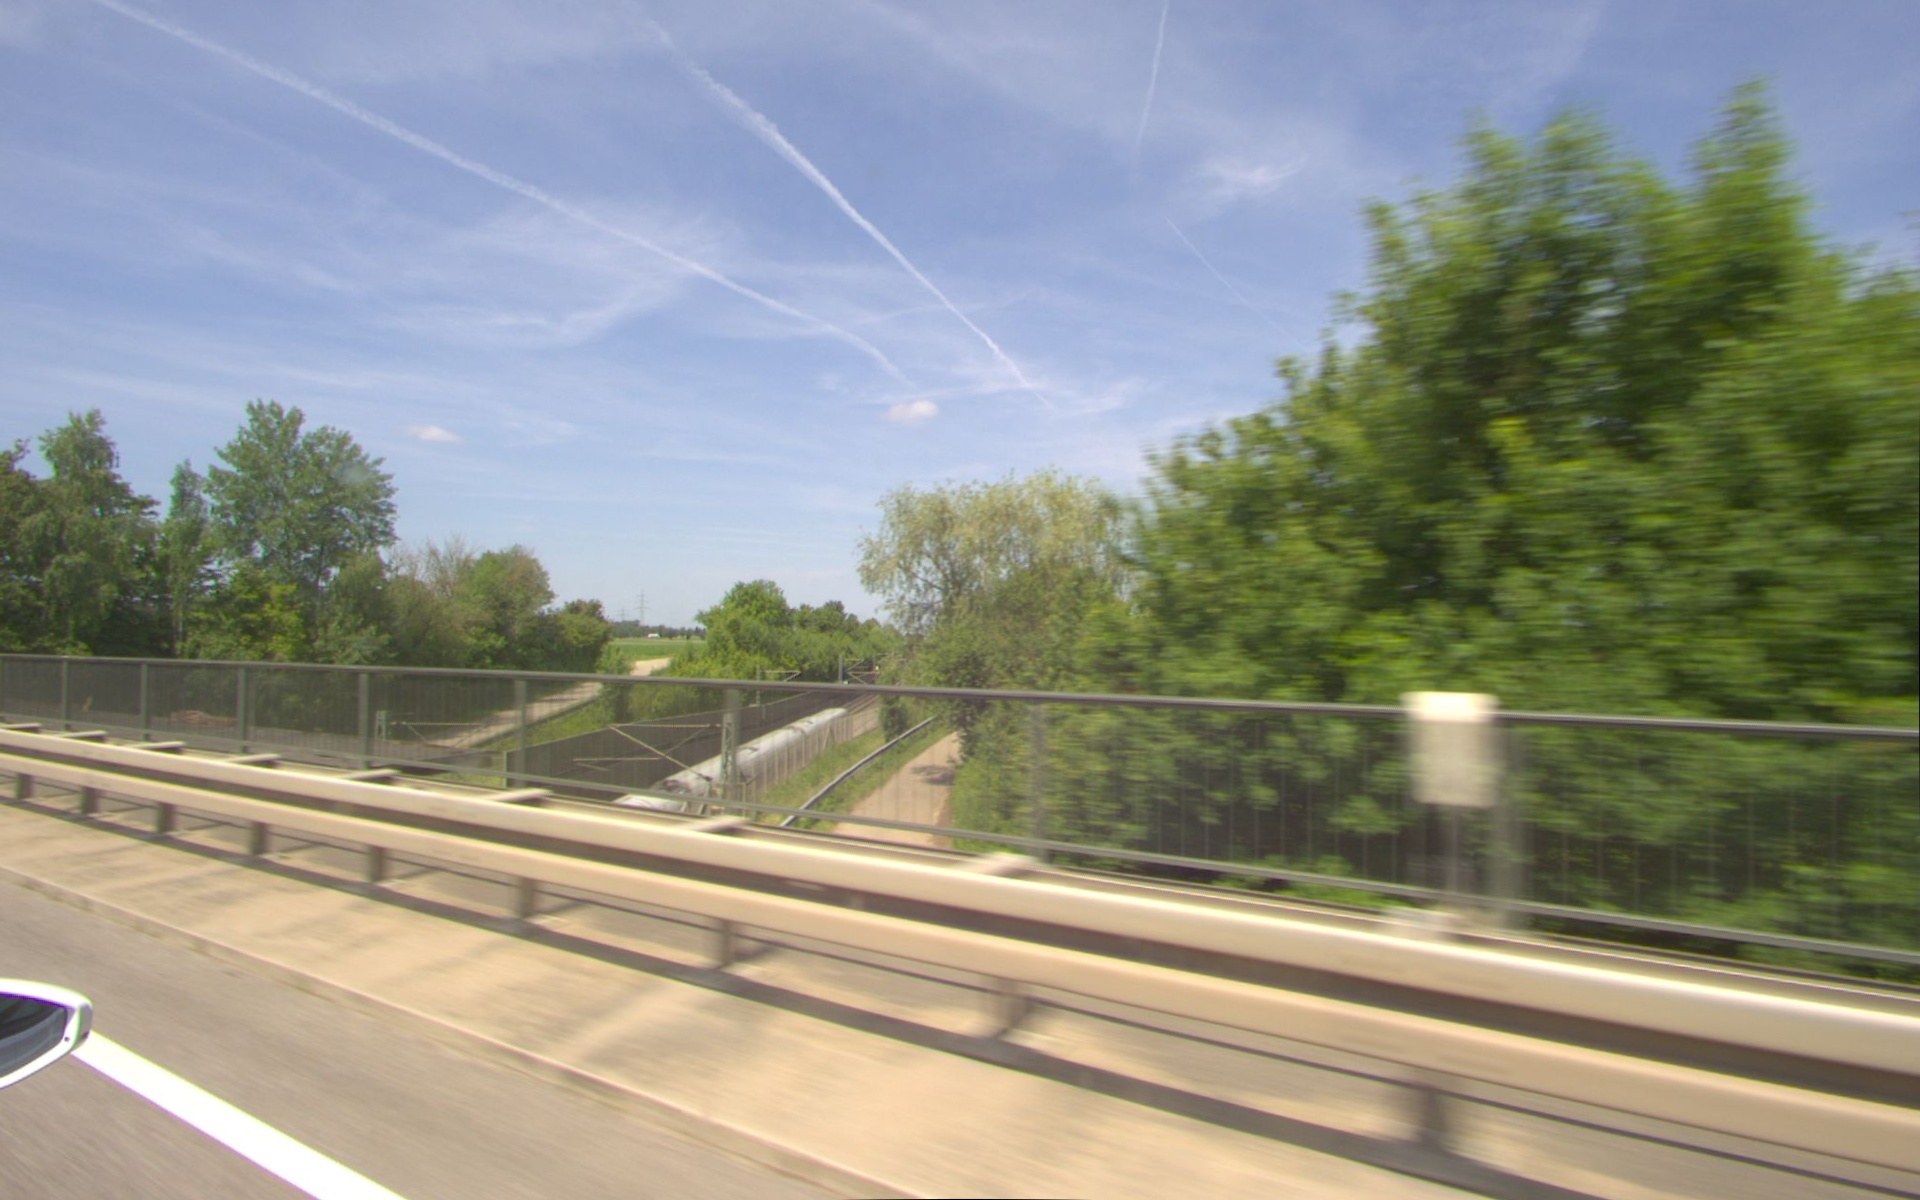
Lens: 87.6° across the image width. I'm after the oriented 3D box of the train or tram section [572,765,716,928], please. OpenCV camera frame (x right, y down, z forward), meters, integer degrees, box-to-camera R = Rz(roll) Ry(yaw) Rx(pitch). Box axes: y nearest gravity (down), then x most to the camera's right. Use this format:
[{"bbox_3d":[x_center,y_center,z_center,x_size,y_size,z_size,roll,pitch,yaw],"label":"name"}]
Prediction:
[{"bbox_3d":[-12.743,9.787,41.812,2.504,4.283,12.459,1,-2,-2],"label":"train or tram section"}]
